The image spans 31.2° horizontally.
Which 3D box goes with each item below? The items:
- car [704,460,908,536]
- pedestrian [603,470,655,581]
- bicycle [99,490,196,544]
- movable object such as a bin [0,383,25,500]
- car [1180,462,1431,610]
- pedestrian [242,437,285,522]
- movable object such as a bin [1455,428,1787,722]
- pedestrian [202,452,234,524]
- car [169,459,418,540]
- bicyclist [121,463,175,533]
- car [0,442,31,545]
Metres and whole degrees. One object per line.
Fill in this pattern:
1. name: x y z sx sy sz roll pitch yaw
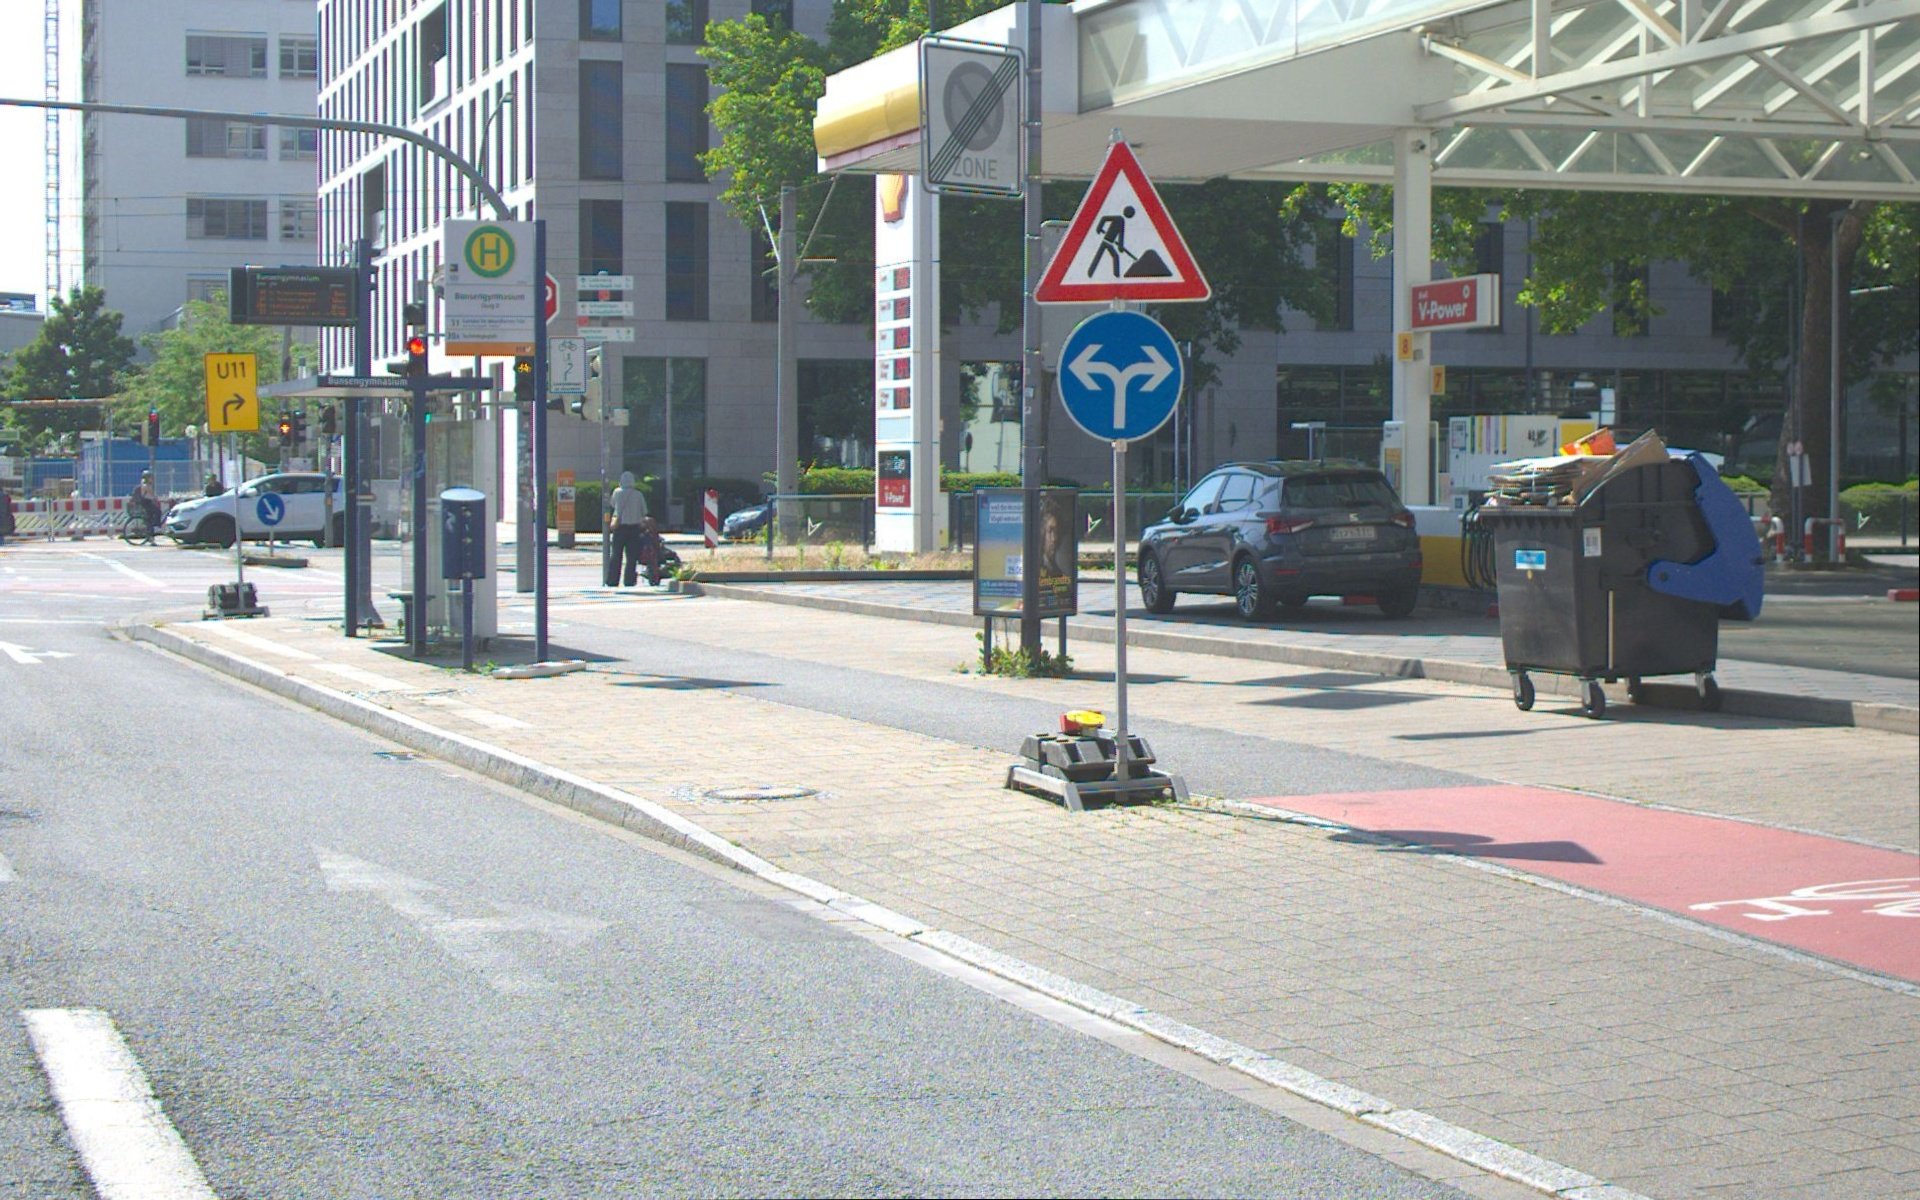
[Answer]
1. car: -3.399 -2.252 75.819 4.109 1.633 2.001 -1 2 -19
2. pedestrian: -4.609 -1.036 47.886 0.618 1.538 0.462 0 2 -20
3. bicycle: -19.563 -2.003 82.793 2.228 1.280 0.525 0 2 -10
4. movable object such as a bin: -41.445 -6.215 133.782 9.672 4.534 3.165 0 2 -17
5. car: 3.396 -0.661 34.396 1.649 1.393 3.643 0 2 -8
6. pedestrian: -16.694 -2.893 82.418 0.778 2.006 0.777 1 2 10
7. movable object such as a bin: 3.818 -0.171 19.948 1.307 1.586 1.396 -3 3 -21
8. pedestrian: -18.141 -2.738 84.057 0.528 1.765 0.719 0 2 -32
9. car: -13.960 -2.094 71.956 4.853 1.631 2.001 0 2 -20
10. bicyclist: -19.542 -2.456 82.780 1.239 1.667 0.525 0 2 -10
11. car: -20.641 -2.077 66.367 4.857 2.006 1.999 -1 3 -43
